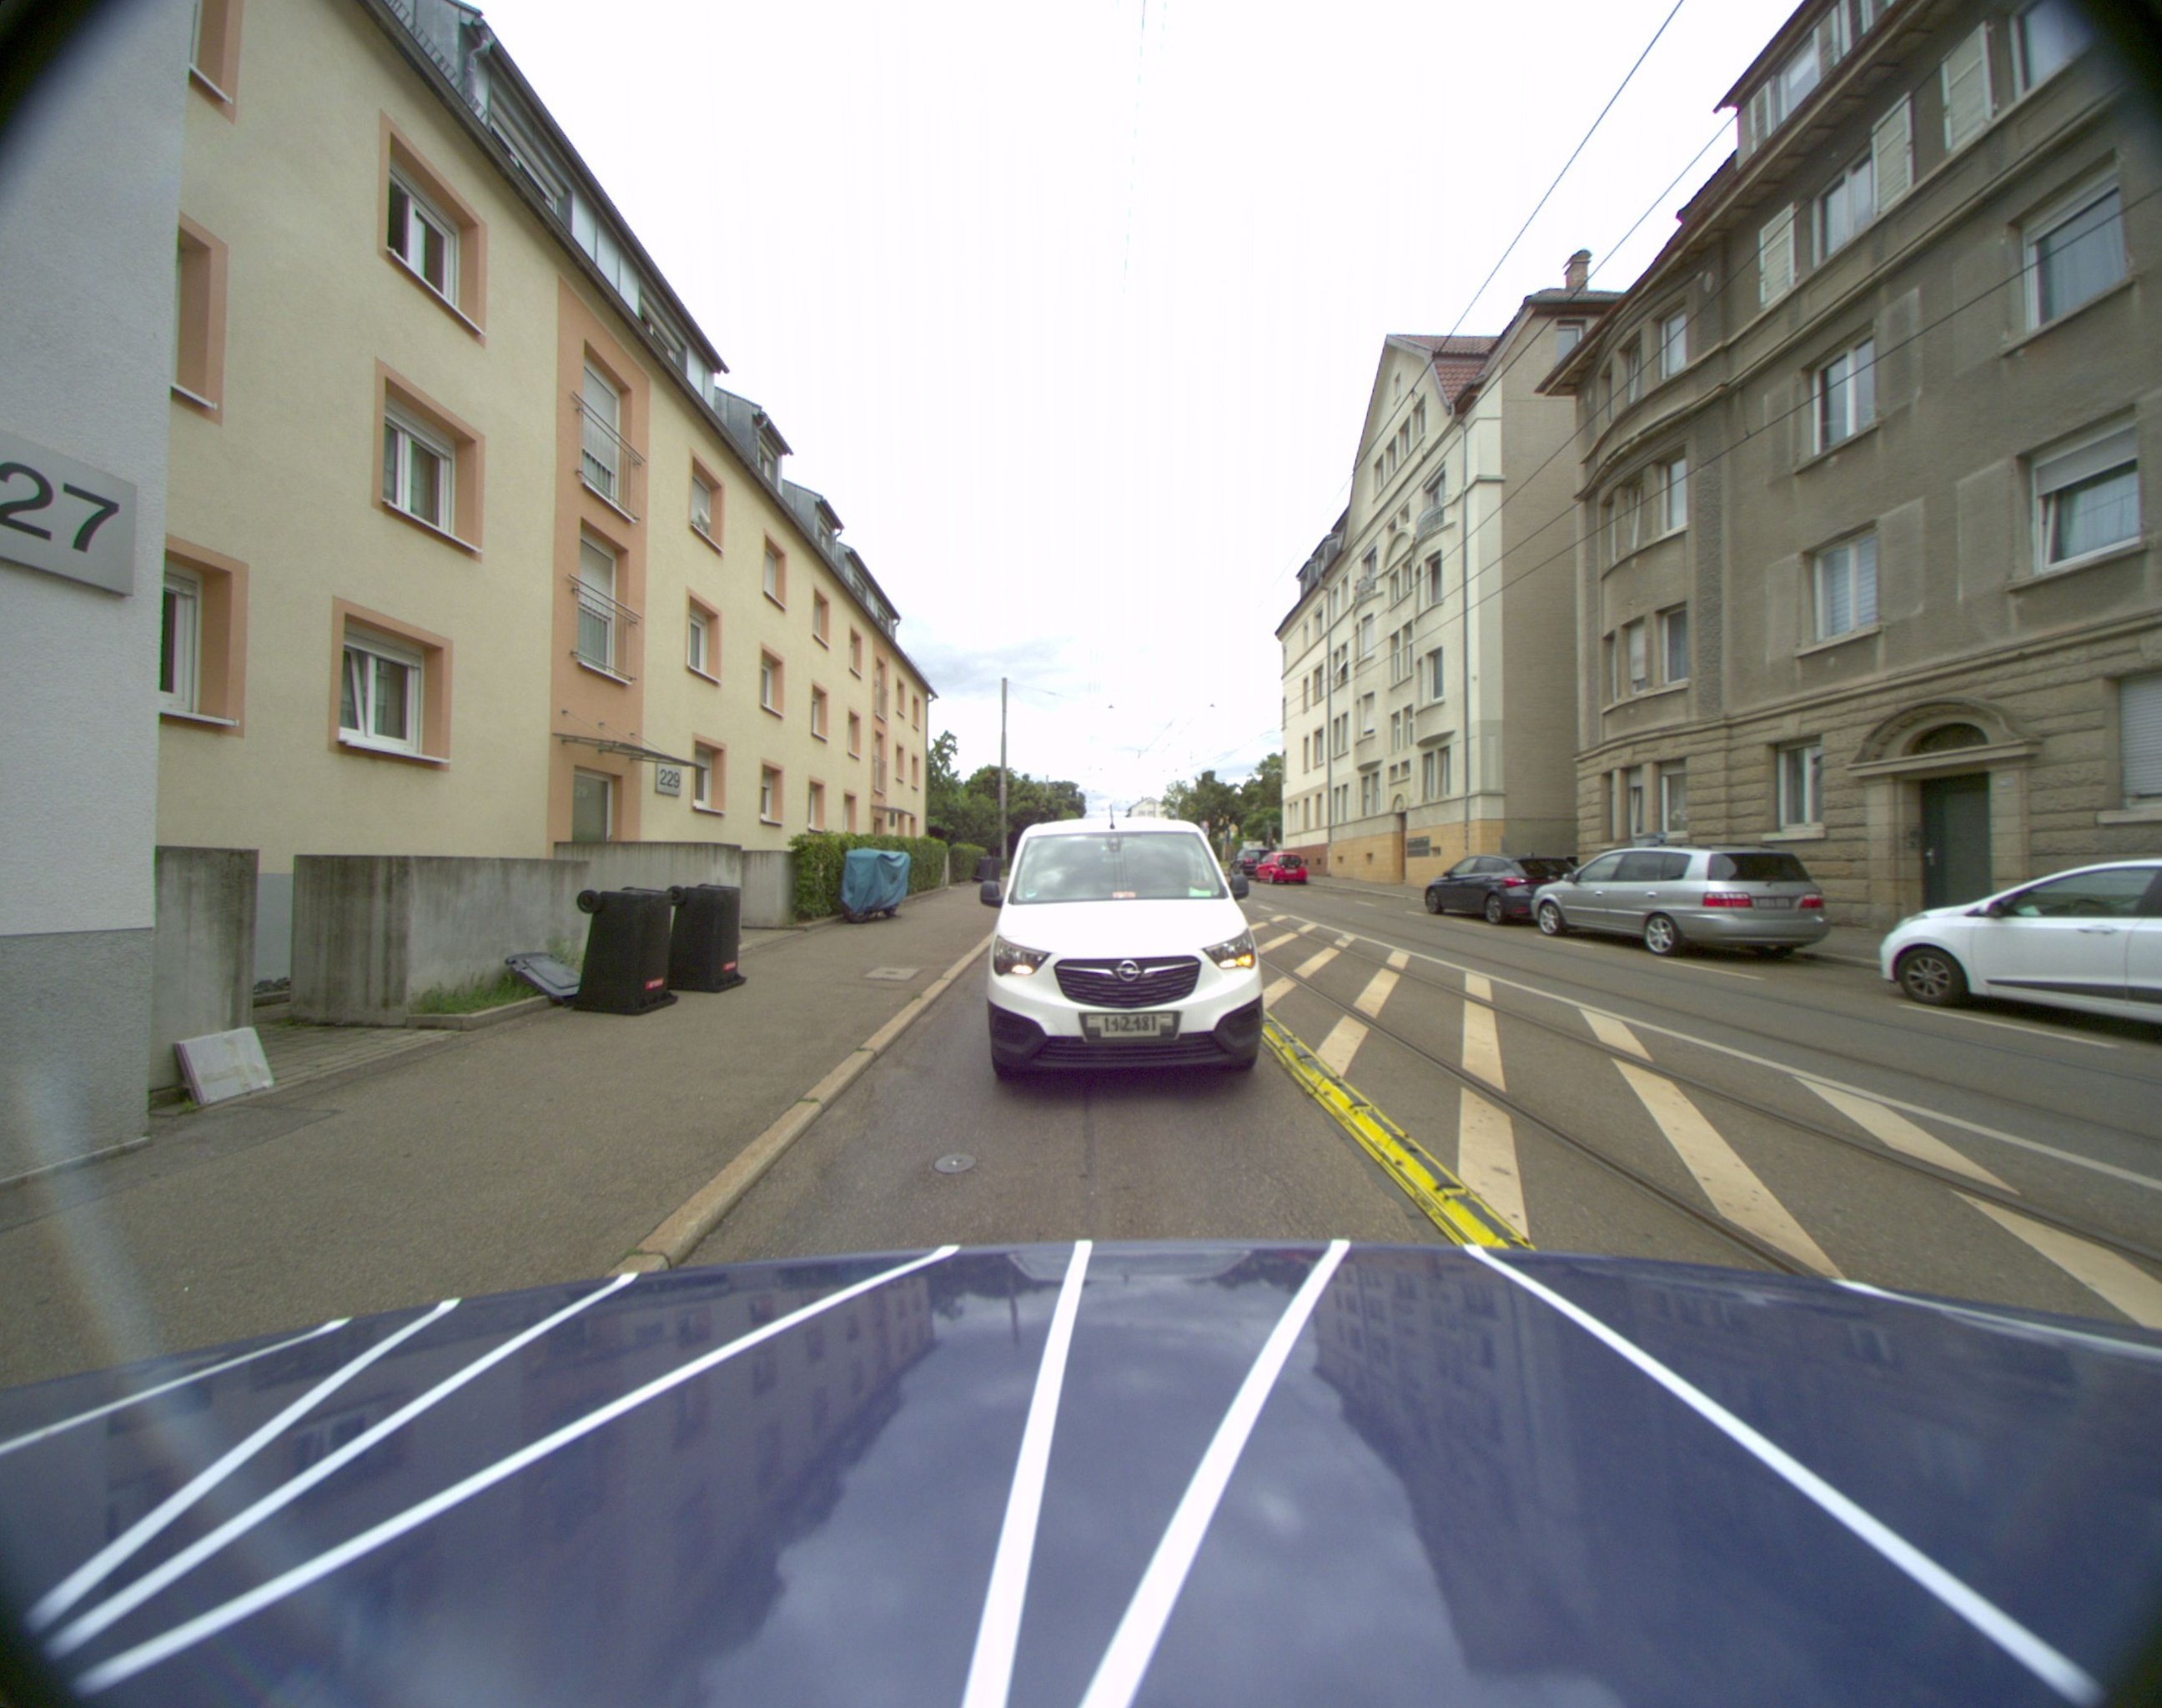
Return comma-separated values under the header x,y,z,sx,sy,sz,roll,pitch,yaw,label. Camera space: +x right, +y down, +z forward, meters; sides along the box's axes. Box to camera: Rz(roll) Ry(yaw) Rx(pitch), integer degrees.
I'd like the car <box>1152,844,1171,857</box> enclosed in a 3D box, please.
x,y,z,sx,sy,sz,roll,pitch,yaw,label
9.487,-0.437,90.082,1.743,1.517,3.951,1,1,-1,car

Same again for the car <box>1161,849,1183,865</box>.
x,y,z,sx,sy,sz,roll,pitch,yaw,label
9.443,0.267,79.016,1.743,1.517,3.951,1,1,-1,car

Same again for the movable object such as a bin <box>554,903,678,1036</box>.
x,y,z,sx,sy,sz,roll,pitch,yaw,label
-3.917,0.954,6.442,0.637,1.003,0.602,3,0,1,movable object such as a bin

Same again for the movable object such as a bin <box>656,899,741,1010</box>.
x,y,z,sx,sy,sz,roll,pitch,yaw,label
-3.705,0.962,7.390,0.565,1.003,0.498,3,1,-8,movable object such as a bin

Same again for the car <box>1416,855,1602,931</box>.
x,y,z,sx,sy,sz,roll,pitch,yaw,label
9.099,0.754,16.588,1.743,1.373,4.044,-1,1,-1,car

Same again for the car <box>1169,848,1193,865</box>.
x,y,z,sx,sy,sz,roll,pitch,yaw,label
9.577,0.179,72.884,1.743,1.517,3.951,1,1,1,car

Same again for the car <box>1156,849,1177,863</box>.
x,y,z,sx,sy,sz,roll,pitch,yaw,label
9.442,0.195,83.966,1.743,1.517,3.951,1,1,-1,car

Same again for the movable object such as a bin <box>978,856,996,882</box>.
x,y,z,sx,sy,sz,roll,pitch,yaw,label
-3.904,0.636,31.622,0.669,1.053,0.539,-1,0,1,movable object such as a bin

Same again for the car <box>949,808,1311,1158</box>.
x,y,z,sx,sy,sz,roll,pitch,yaw,label
0.296,0.661,6.398,1.888,1.828,4.676,-2,1,1,car

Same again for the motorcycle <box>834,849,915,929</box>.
x,y,z,sx,sy,sz,roll,pitch,yaw,label
-3.887,0.613,14.478,0.731,1.382,1.937,4,1,7,motorcycle

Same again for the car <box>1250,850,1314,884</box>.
x,y,z,sx,sy,sz,roll,pitch,yaw,label
9.401,0.570,35.912,1.743,1.450,3.950,1,1,-4,car

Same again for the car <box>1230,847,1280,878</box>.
x,y,z,sx,sy,sz,roll,pitch,yaw,label
9.279,0.433,40.825,1.743,1.517,3.951,1,1,-1,car

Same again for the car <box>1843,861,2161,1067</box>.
x,y,z,sx,sy,sz,roll,pitch,yaw,label
9.071,0.852,6.281,1.743,1.502,3.800,0,1,1,car

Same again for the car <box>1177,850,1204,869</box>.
x,y,z,sx,sy,sz,roll,pitch,yaw,label
9.499,0.420,66.322,1.743,1.517,3.951,1,1,-1,car

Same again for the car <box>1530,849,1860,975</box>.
x,y,z,sx,sy,sz,roll,pitch,yaw,label
9.063,0.733,11.781,1.743,1.558,4.142,-1,1,-1,car
